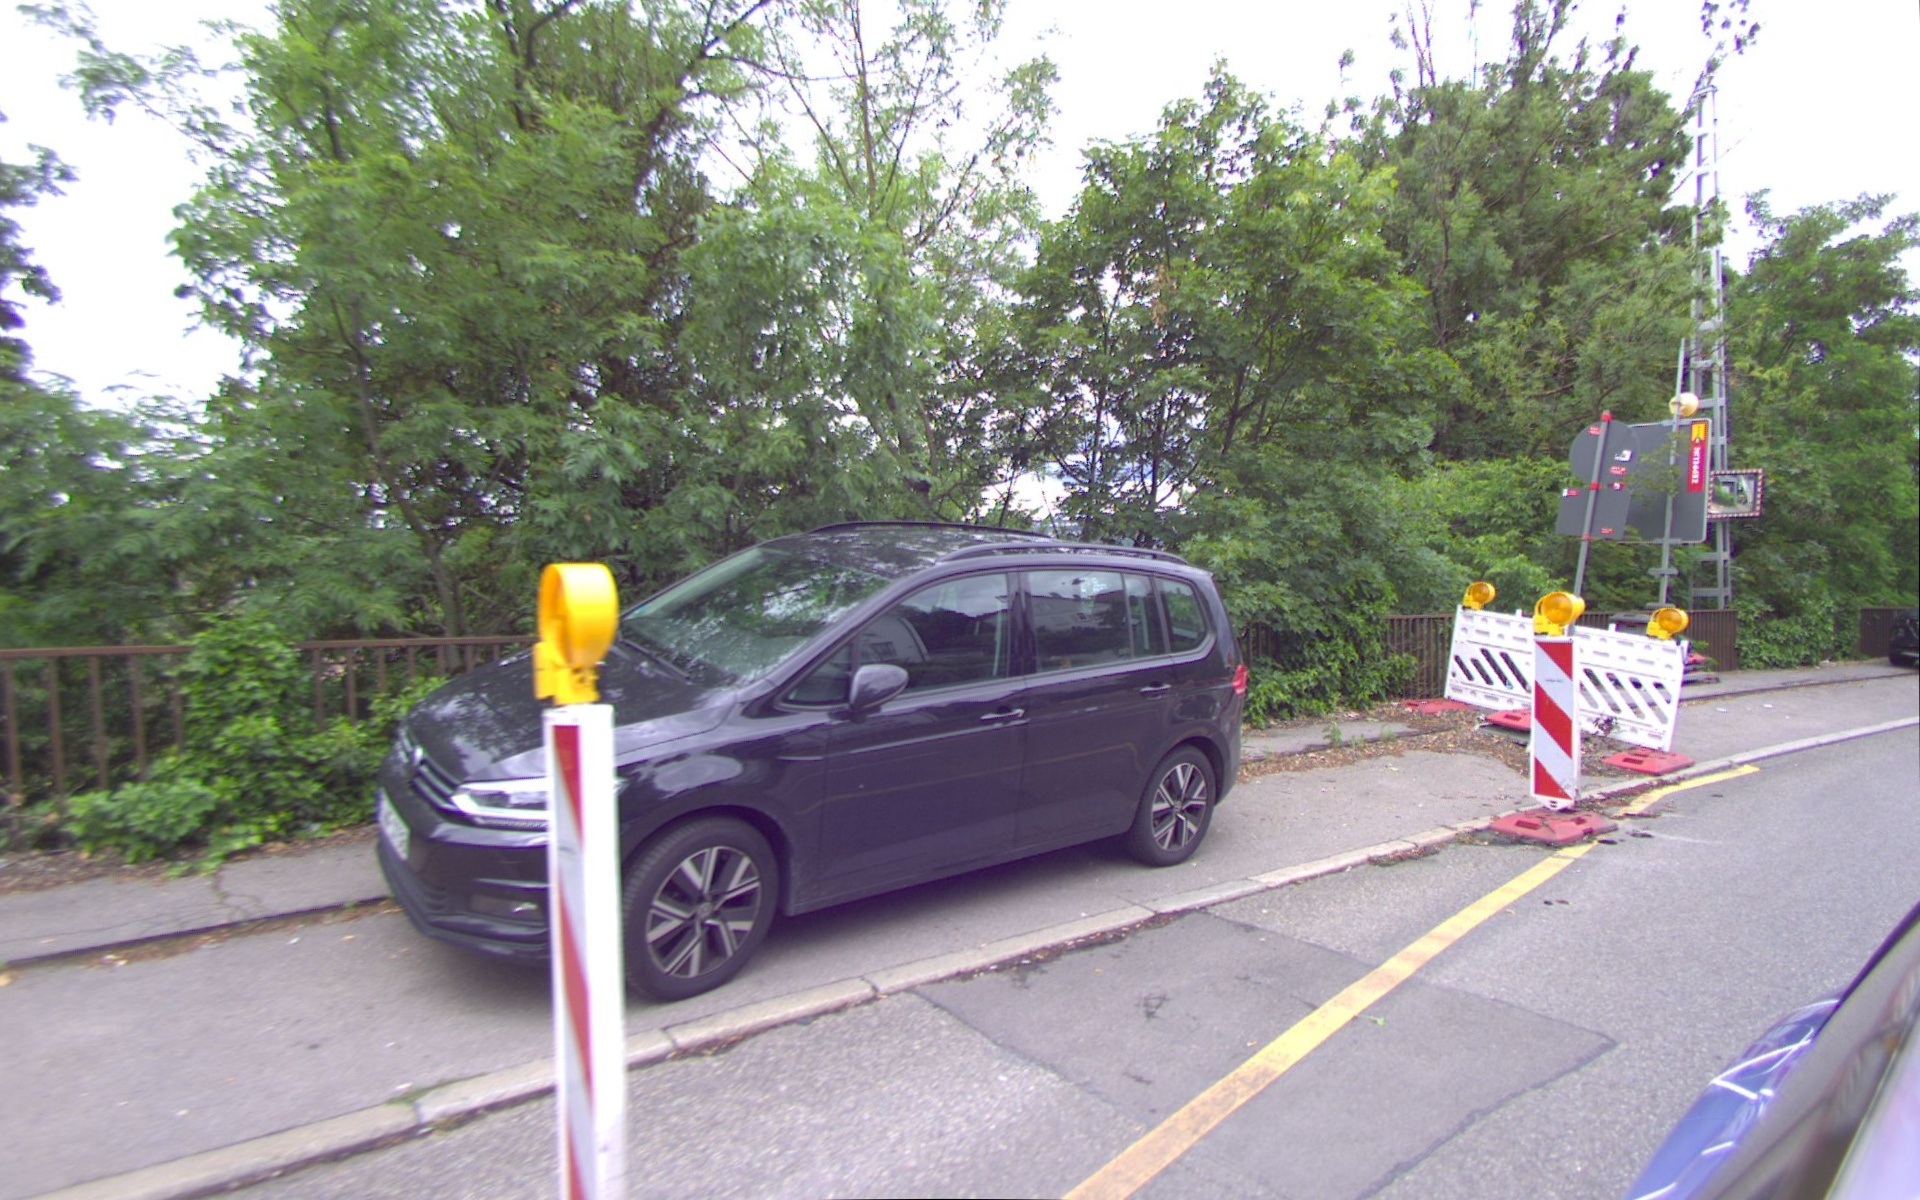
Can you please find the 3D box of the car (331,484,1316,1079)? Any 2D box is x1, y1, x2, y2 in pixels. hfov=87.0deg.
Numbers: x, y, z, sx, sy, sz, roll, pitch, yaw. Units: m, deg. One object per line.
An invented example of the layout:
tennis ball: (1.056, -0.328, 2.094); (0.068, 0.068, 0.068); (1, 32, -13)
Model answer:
car: (-0.344, 0.429, 5.076); (4.564, 1.693, 1.867); (-1, 6, -40)

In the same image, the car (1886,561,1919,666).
car: (17.884, 0.292, 17.103); (4.192, 1.693, 1.864); (0, 7, -28)
